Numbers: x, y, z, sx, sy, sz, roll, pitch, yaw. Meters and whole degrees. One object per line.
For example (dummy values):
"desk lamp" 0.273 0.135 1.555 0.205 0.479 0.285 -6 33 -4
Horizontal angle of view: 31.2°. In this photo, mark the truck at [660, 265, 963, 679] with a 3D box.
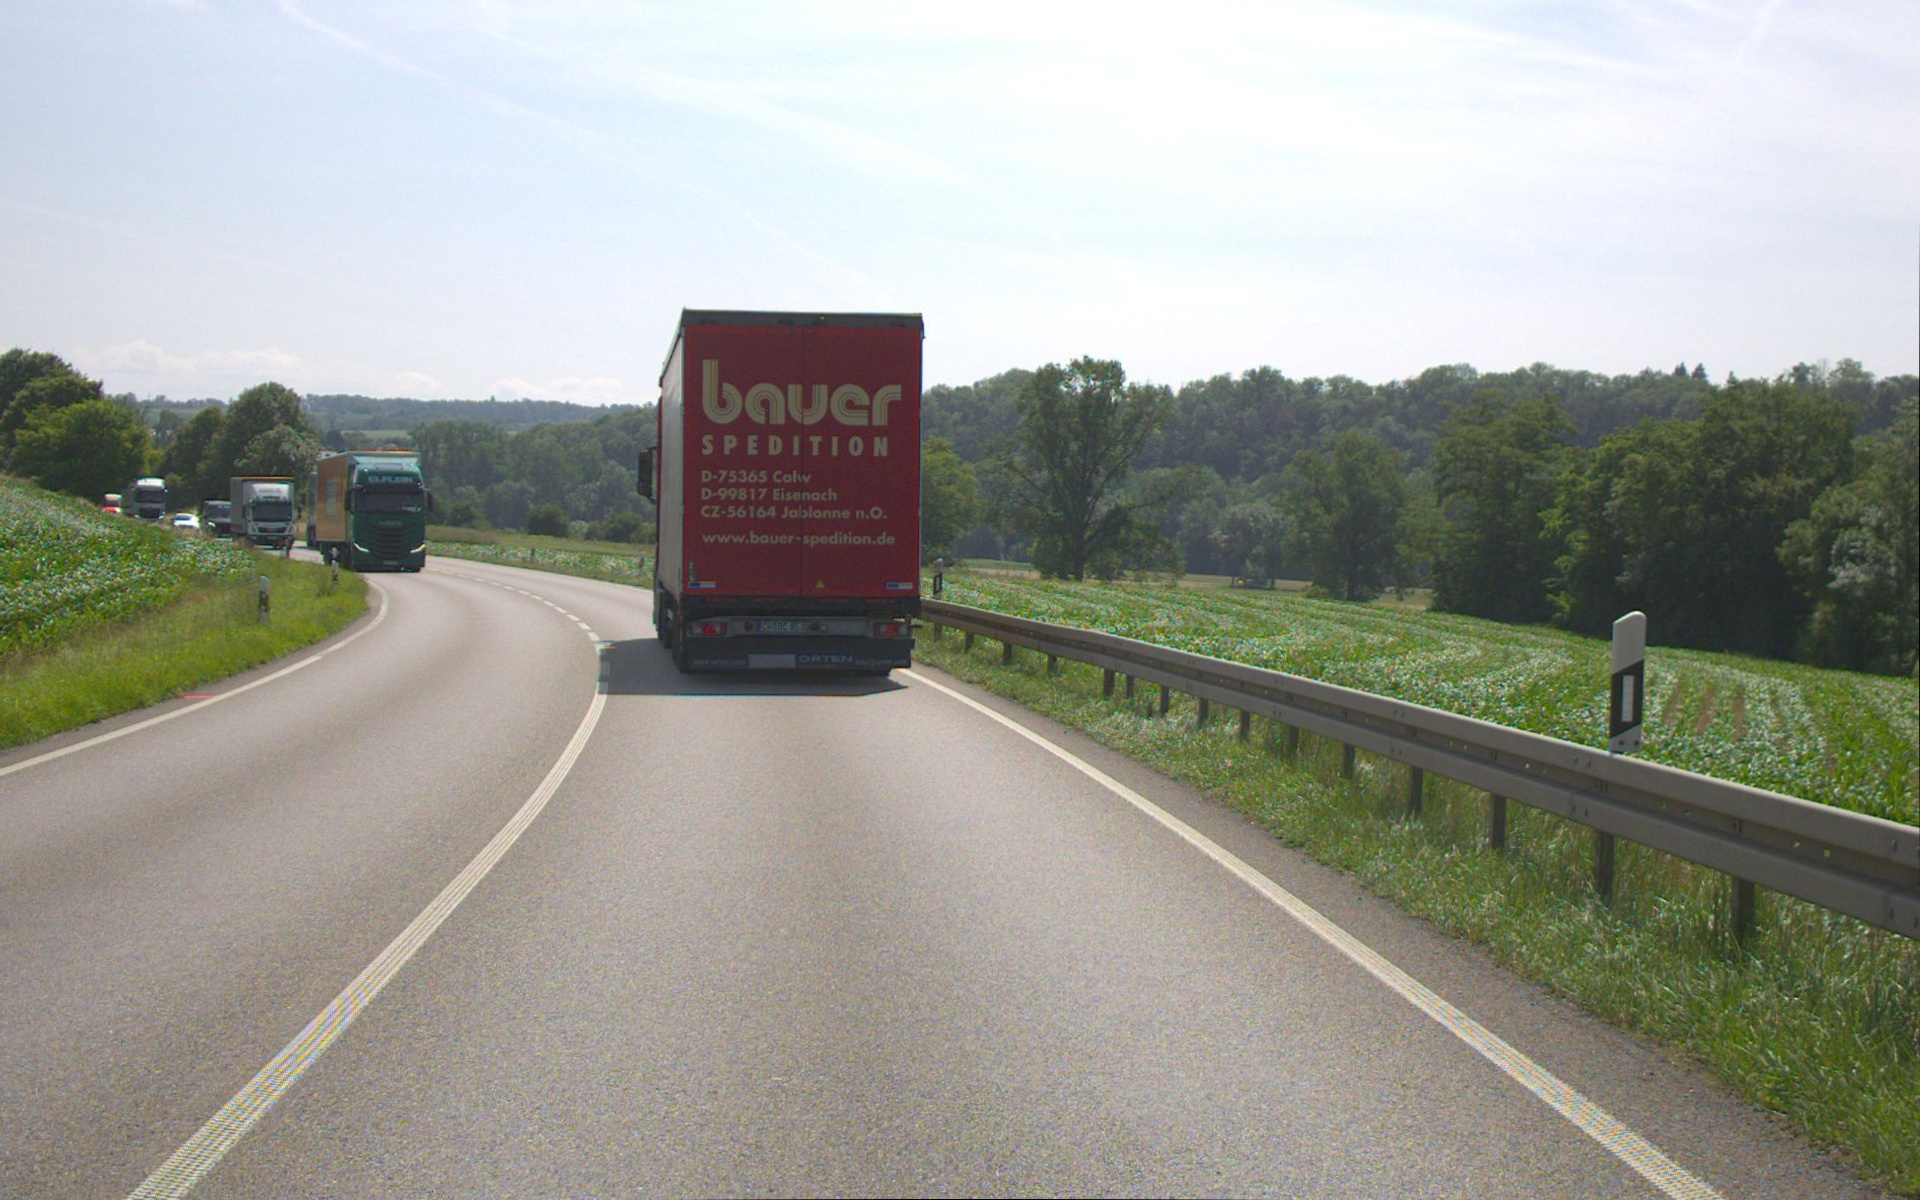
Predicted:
"truck" -1.897 -1.393 39.763 3.094 4.248 8.316 1 1 -5

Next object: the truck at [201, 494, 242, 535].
"truck" -43.305 -5.019 201.418 2.009 2.312 5.194 1 1 -16

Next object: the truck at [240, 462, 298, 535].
"truck" -35.400 -5.168 175.981 2.740 3.566 9.730 1 1 -12

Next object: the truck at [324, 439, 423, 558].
"truck" -21.520 -3.680 125.470 2.770 3.984 17.033 1 1 -12

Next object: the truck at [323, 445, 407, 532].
"truck" -31.059 -5.722 179.088 3.639 4.277 11.989 1 1 -13

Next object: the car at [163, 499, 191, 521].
"car" -53.803 -6.198 236.311 1.727 1.435 4.178 0 2 -15
